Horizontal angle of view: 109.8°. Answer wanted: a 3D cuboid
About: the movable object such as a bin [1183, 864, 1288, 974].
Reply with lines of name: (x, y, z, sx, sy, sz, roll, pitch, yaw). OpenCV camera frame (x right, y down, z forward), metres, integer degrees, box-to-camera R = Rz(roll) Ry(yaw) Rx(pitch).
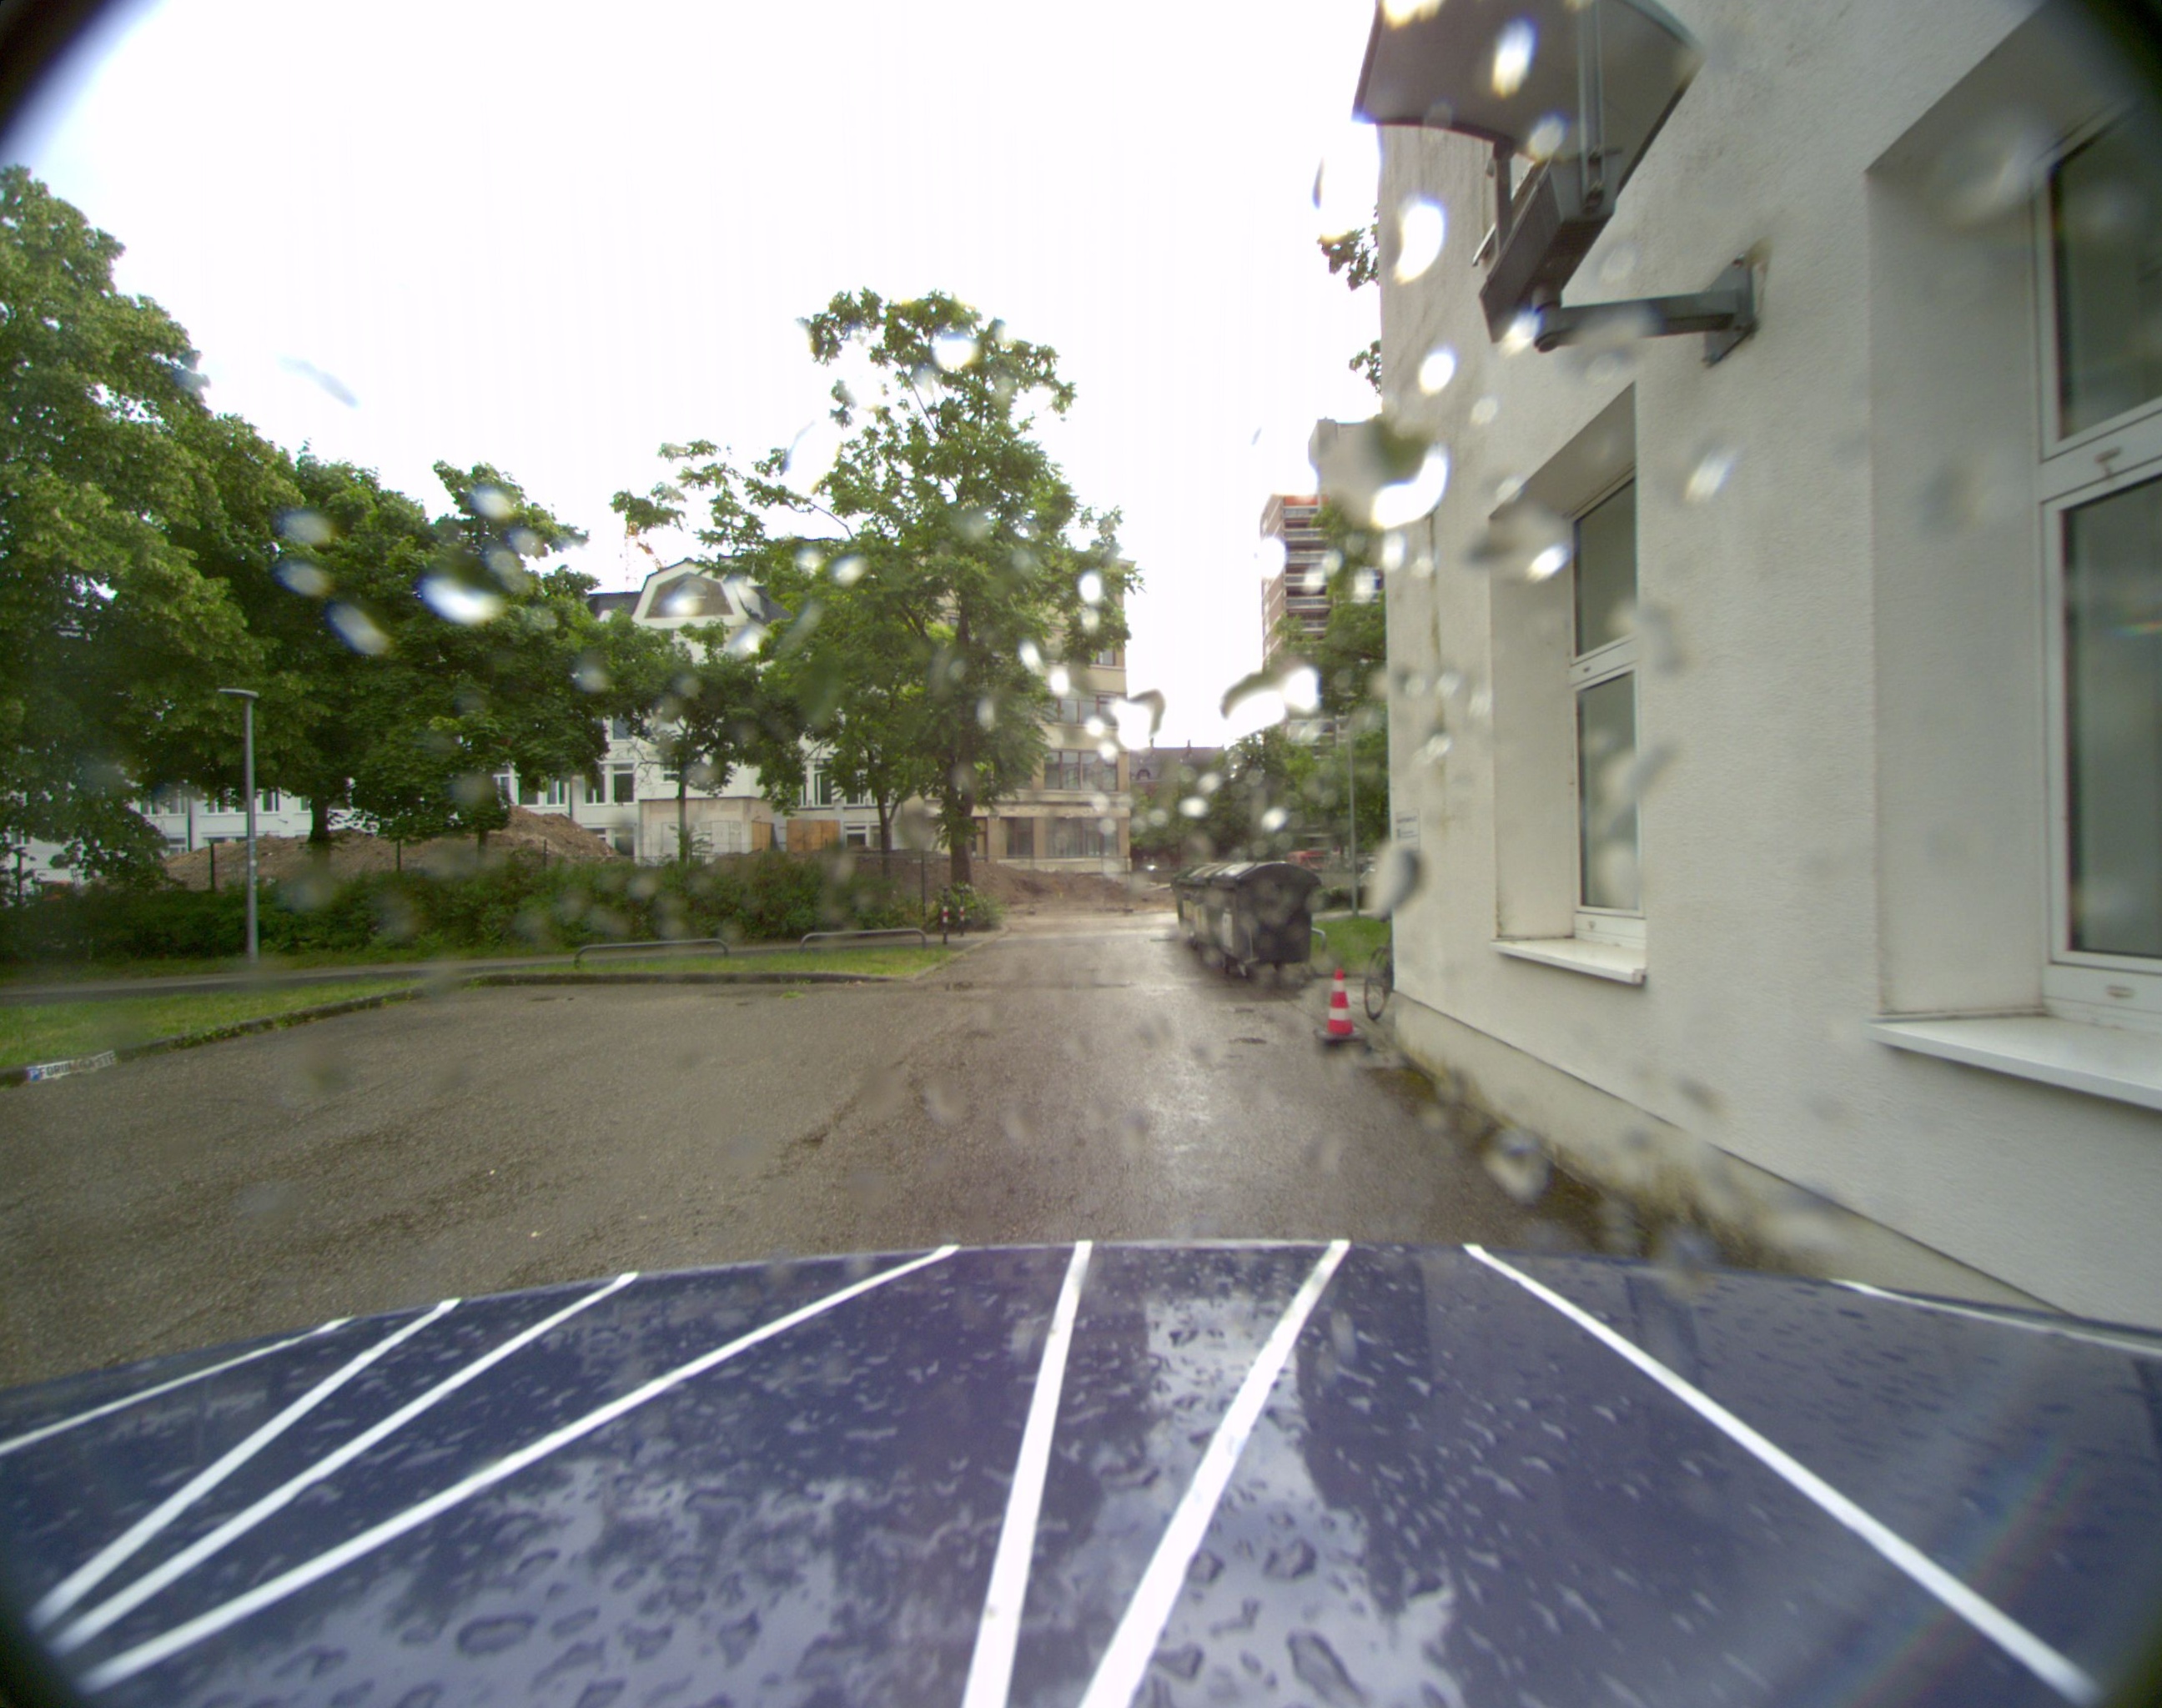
movable object such as a bin: (2.201, 0.891, 11.061, 1.167, 1.474, 1.496, 0, 1, -2)

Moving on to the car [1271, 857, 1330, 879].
car: (15.516, 1.023, 53.991, 1.893, 1.461, 3.993, 0, -2, -24)

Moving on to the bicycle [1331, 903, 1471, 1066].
bicycle: (2.646, 1.025, 6.454, 0.616, 1.109, 1.520, 0, 1, 3)

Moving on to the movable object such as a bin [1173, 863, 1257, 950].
movable object such as a bin: (2.431, 0.939, 13.951, 1.167, 1.474, 1.403, -2, -2, -4)

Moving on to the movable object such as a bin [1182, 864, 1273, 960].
movable object such as a bin: (2.375, 0.913, 12.533, 1.167, 1.474, 1.403, -2, -1, -2)

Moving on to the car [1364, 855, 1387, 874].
car: (26.556, 0.936, 68.529, 1.781, 1.556, 4.051, -1, 1, 20)

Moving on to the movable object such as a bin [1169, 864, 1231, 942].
movable object such as a bin: (2.450, 0.968, 15.504, 1.103, 1.464, 1.487, -2, 0, 13)

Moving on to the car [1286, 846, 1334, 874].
car: (22.497, 0.585, 74.903, 2.303, 2.618, 5.477, 0, 0, -11)

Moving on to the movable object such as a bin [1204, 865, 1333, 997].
movable object such as a bin: (2.271, 0.885, 9.471, 1.167, 1.474, 1.594, 0, 1, -2)
